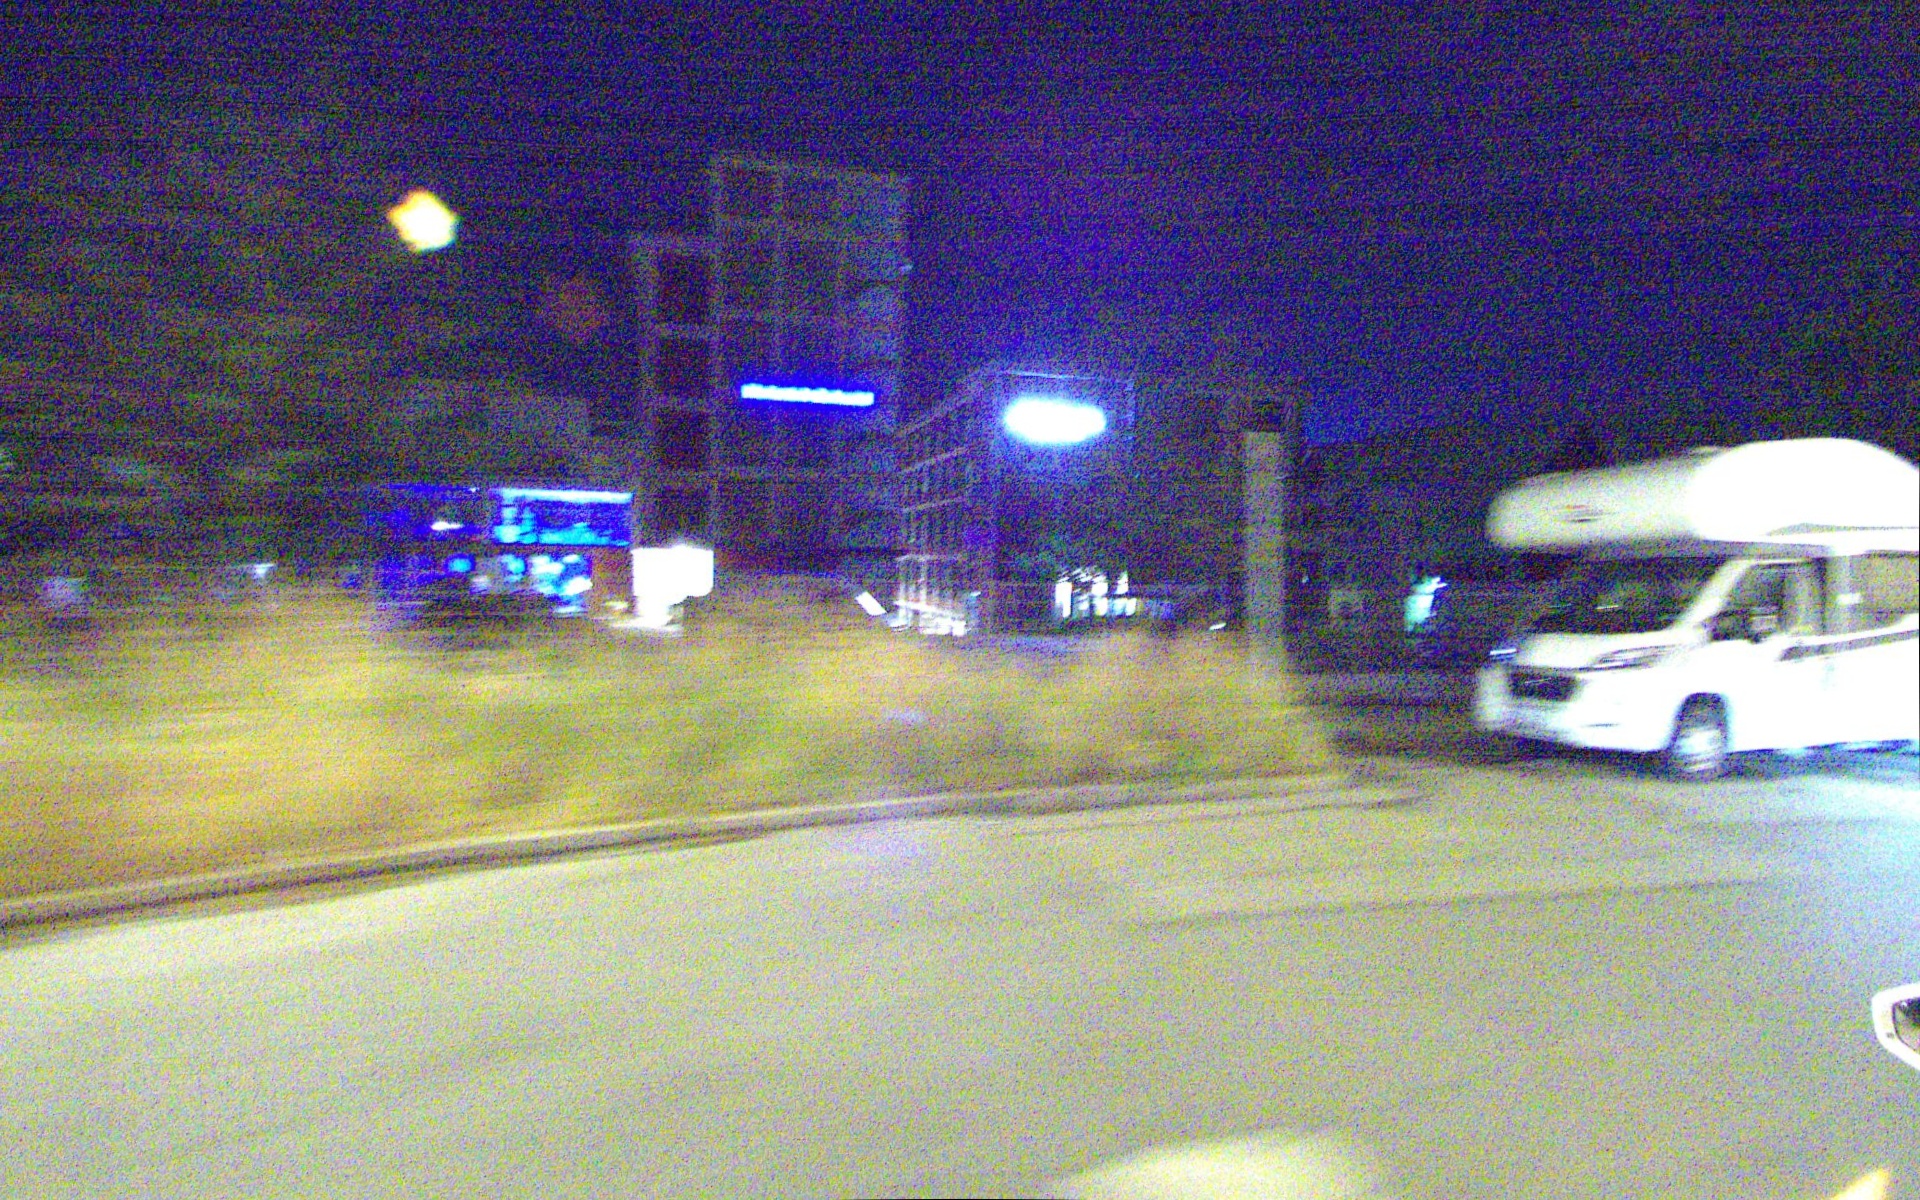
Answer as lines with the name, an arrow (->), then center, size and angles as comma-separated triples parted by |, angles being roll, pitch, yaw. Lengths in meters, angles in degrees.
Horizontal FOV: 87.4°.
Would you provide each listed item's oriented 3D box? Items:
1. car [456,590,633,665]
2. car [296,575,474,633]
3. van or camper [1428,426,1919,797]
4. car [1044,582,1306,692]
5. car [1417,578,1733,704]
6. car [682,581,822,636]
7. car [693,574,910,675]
car -> -12.126, 0.758, 29.451 | 4.392, 1.910, 2.001 | 1, 3, 10
car -> -21.929, 0.124, 38.619 | 5.449, 2.053, 2.486 | 0, 3, -17
van or camper -> 8.965, 0.145, 10.615 | 7.319, 3.136, 2.520 | 1, 1, -14
car -> 5.618, 0.909, 26.881 | 6.544, 2.589, 2.001 | 1, 3, 9
car -> 15.590, 0.962, 25.878 | 6.544, 2.880, 2.001 | 1, 3, 9
car -> -8.420, 0.315, 40.967 | 5.441, 2.053, 2.490 | 0, 3, -11
car -> -4.467, 0.624, 28.598 | 5.758, 2.589, 2.001 | 1, 3, 9
